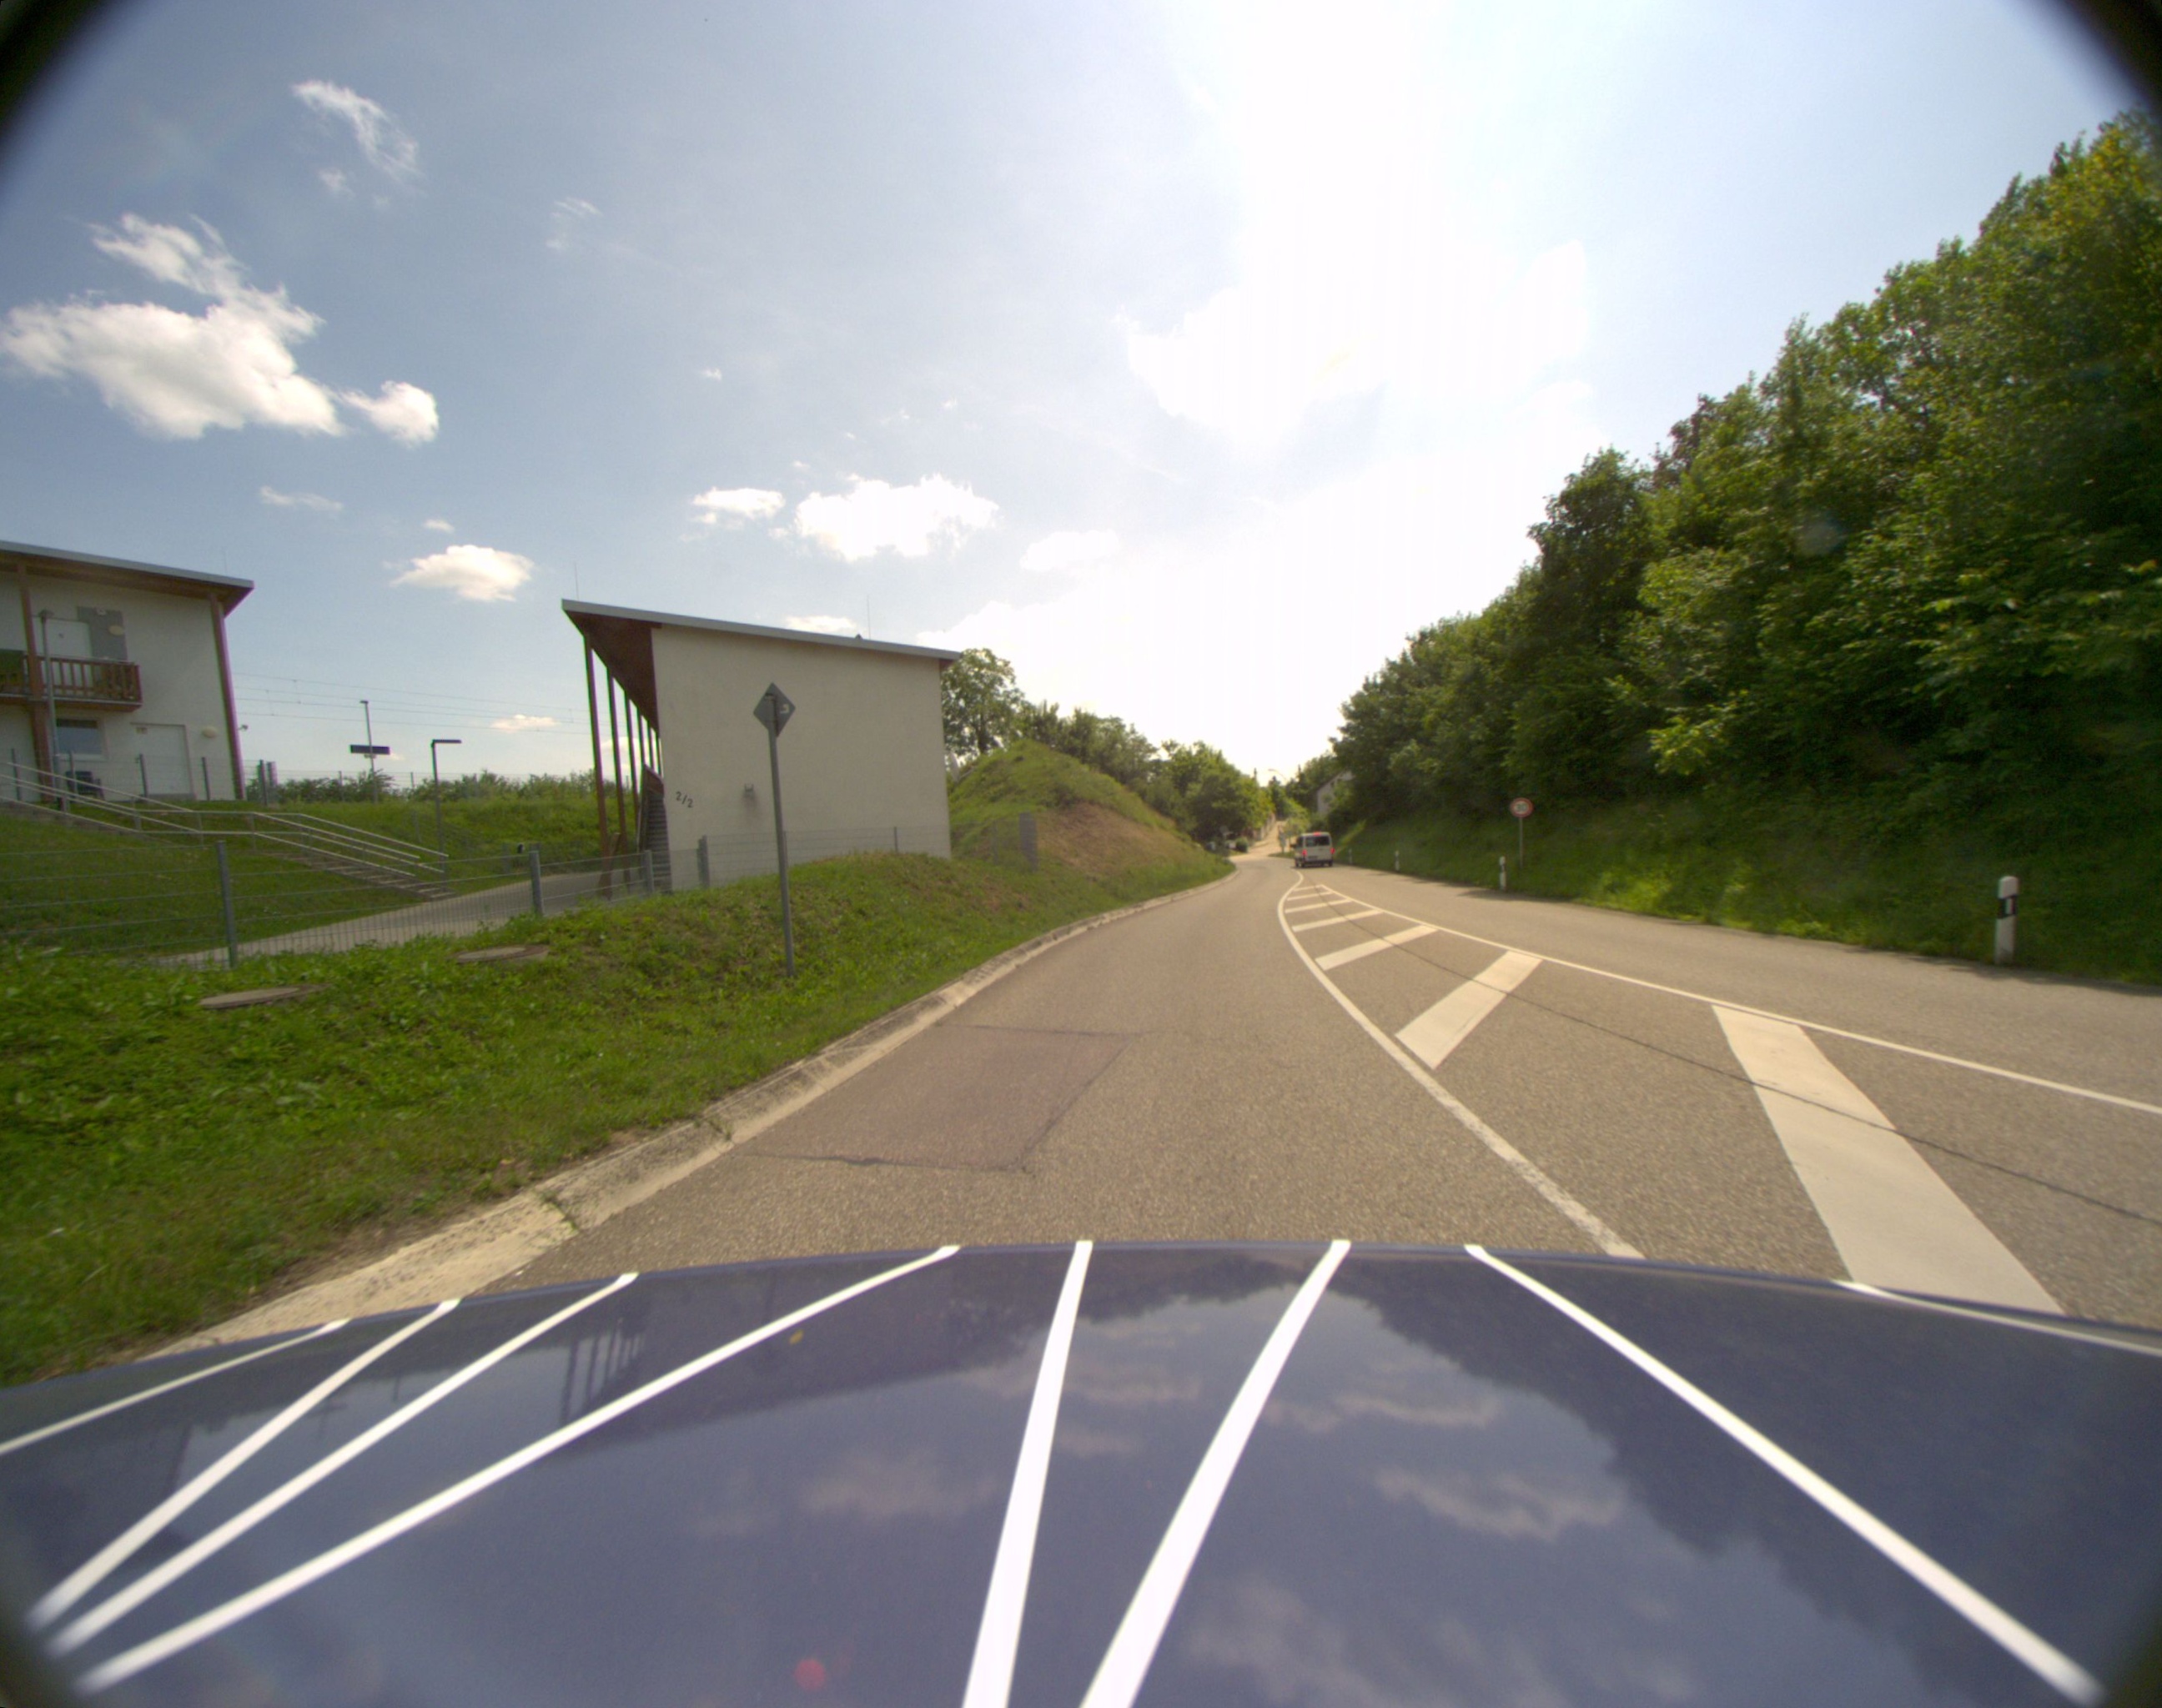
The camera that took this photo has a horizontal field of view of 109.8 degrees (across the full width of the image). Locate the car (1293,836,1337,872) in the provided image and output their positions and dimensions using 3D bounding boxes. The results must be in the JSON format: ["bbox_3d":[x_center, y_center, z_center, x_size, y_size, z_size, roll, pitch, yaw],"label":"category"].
[{"bbox_3d":[16.120,0.011,52.566,2.089,2.277,5.951,-1,0,10],"label":"car"}]
